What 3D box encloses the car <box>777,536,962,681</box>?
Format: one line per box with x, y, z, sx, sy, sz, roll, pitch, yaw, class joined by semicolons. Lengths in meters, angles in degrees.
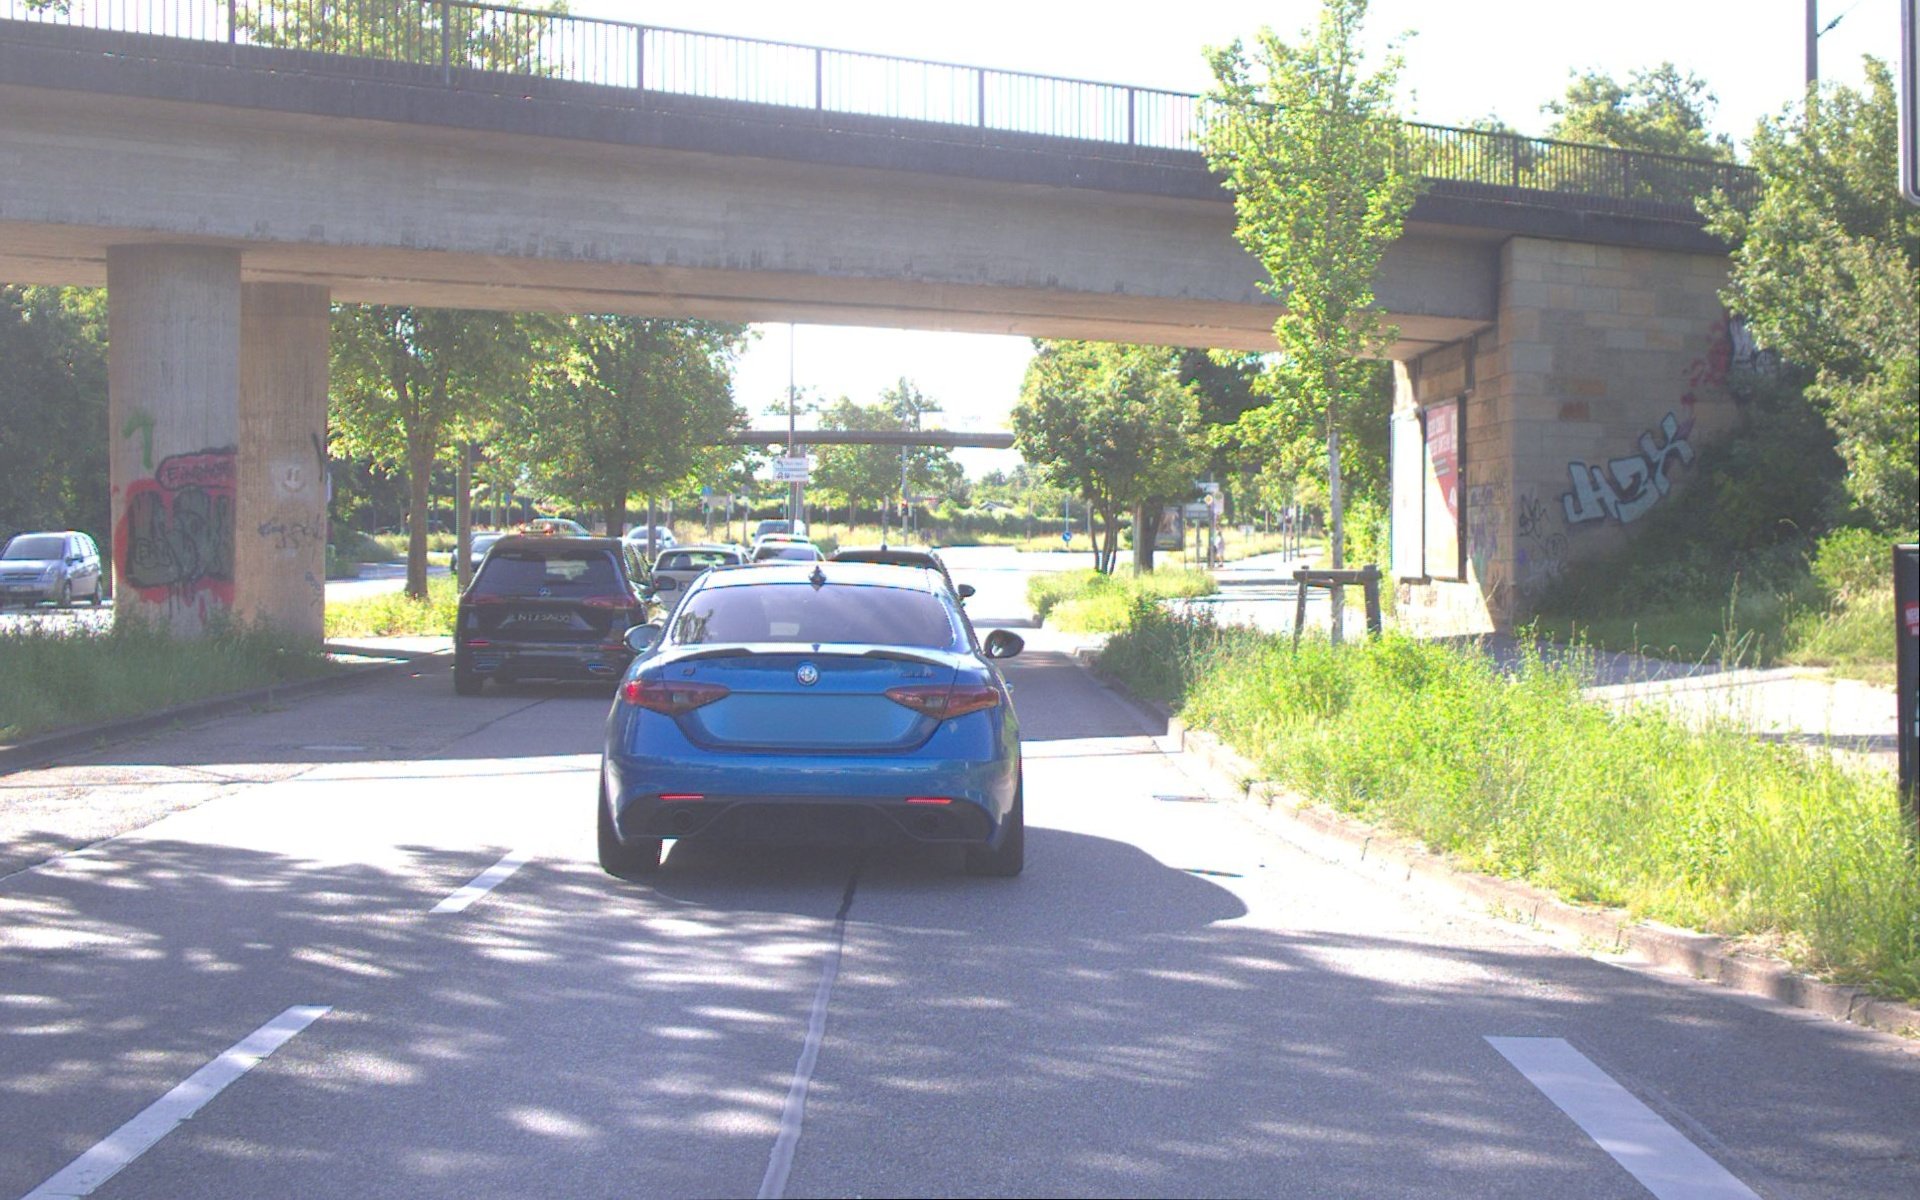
-0.954;0.061;38.084;1.883;1.449;4.526;2;1;0;car

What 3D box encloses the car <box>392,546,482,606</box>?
-14.436;-0.672;95.114;1.842;1.537;4.000;-2;1;0;car

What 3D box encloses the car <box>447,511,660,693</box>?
-3.860;-0.011;33.202;1.707;1.592;4.224;2;1;-3;car

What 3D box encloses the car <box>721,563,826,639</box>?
-3.787;-0.007;70.281;1.883;1.449;4.526;2;1;0;car

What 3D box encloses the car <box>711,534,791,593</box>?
-5.263;-0.941;86.815;1.779;1.449;4.182;0;1;0;car

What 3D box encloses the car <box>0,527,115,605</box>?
-19.531;-0.738;73.764;1.729;1.611;4.179;-1;1;0;car

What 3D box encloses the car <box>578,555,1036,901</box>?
-0.654;0.513;16.567;1.883;1.401;4.224;2;1;0;car

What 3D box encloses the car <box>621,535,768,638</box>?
-4.023;-0.224;52.750;1.883;1.449;4.526;2;1;0;car
